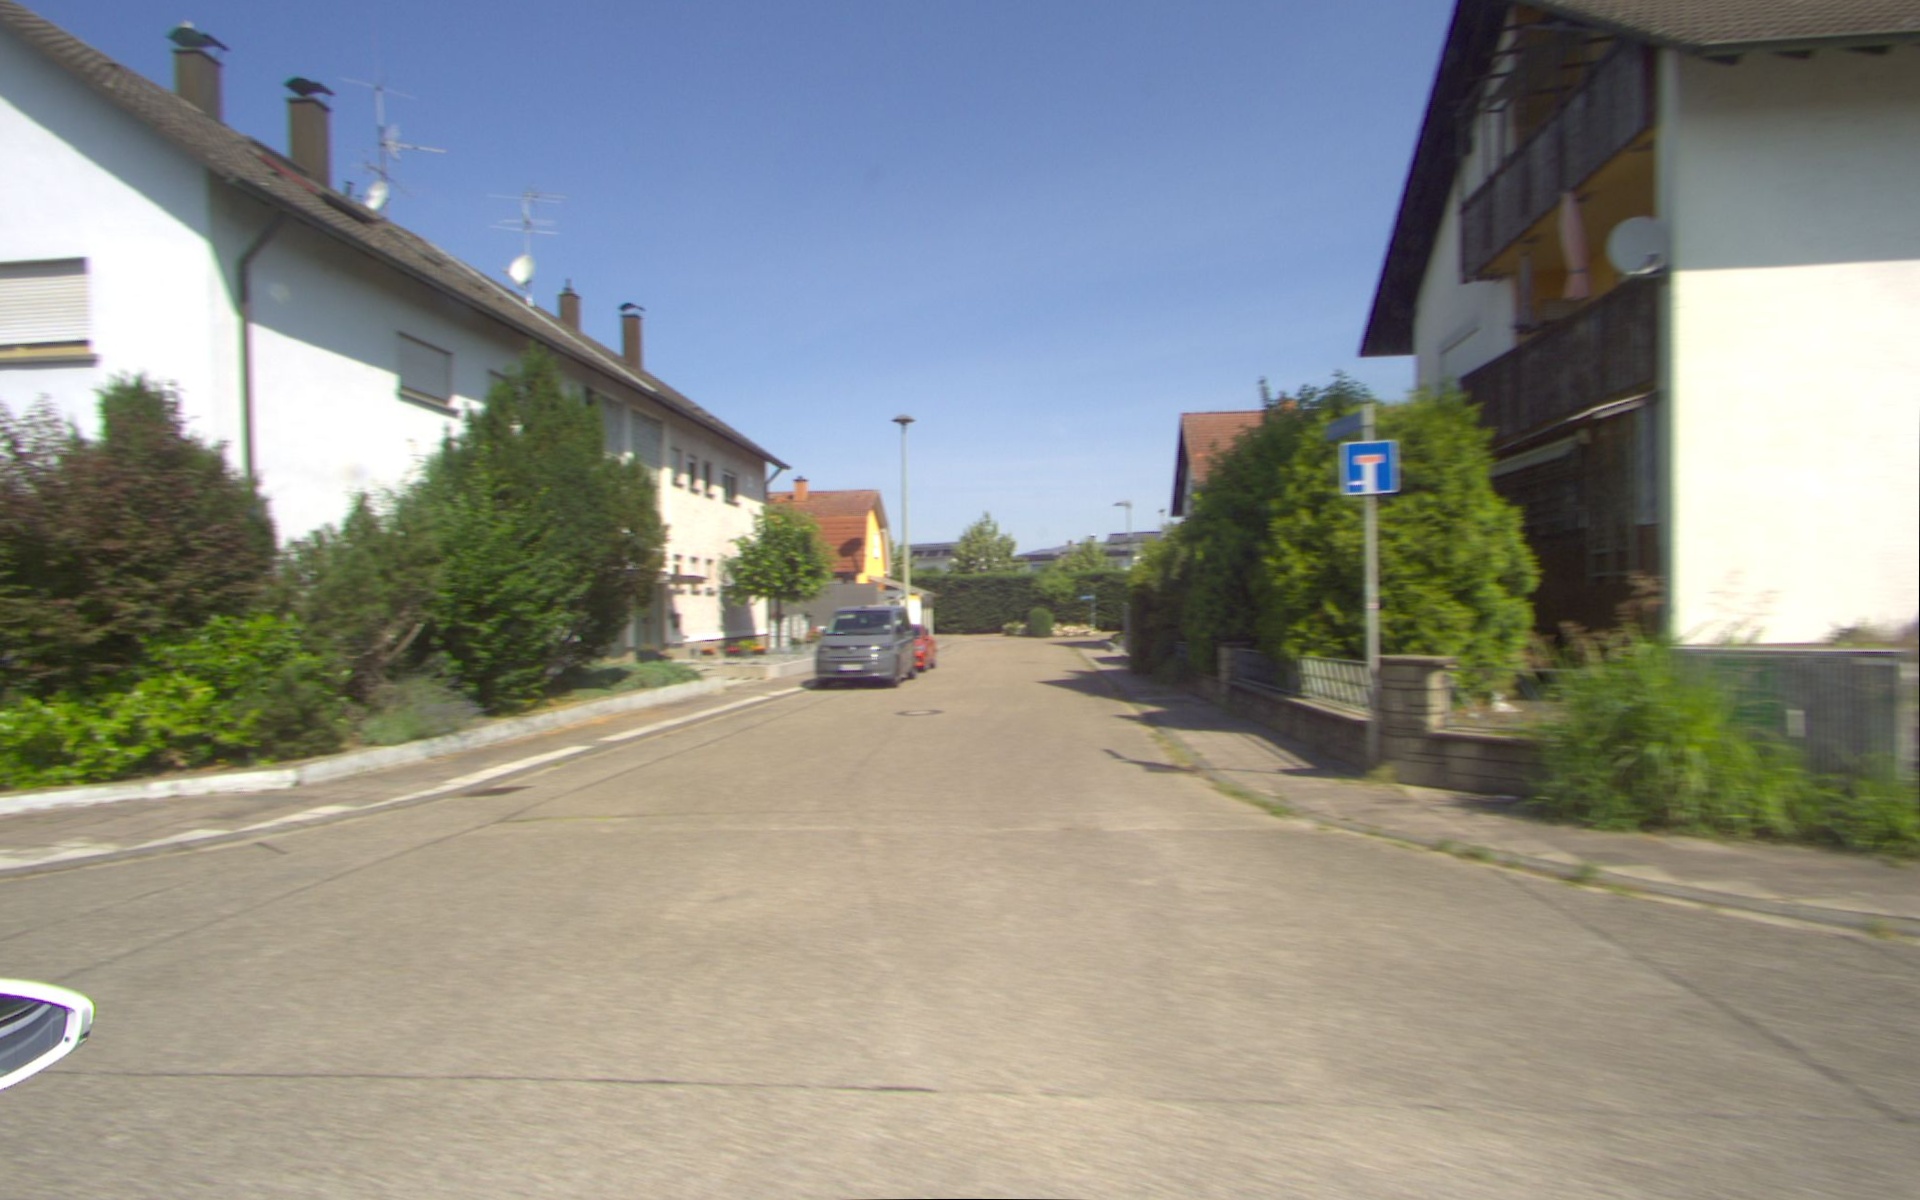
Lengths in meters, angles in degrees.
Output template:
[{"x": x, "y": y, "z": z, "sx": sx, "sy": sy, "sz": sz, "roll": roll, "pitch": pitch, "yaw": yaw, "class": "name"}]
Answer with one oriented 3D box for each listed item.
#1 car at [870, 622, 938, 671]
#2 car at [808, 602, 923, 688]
[{"x": -1.684, "y": 1.387, "z": 31.019, "sx": 1.625, "sy": 1.382, "sz": 3.779, "roll": -1, "pitch": -1, "yaw": 4, "class": "car"}, {"x": -2.174, "y": 1.014, "z": 24.265, "sx": 1.870, "sy": 1.894, "sz": 4.370, "roll": 0, "pitch": 0, "yaw": 7, "class": "car"}]
